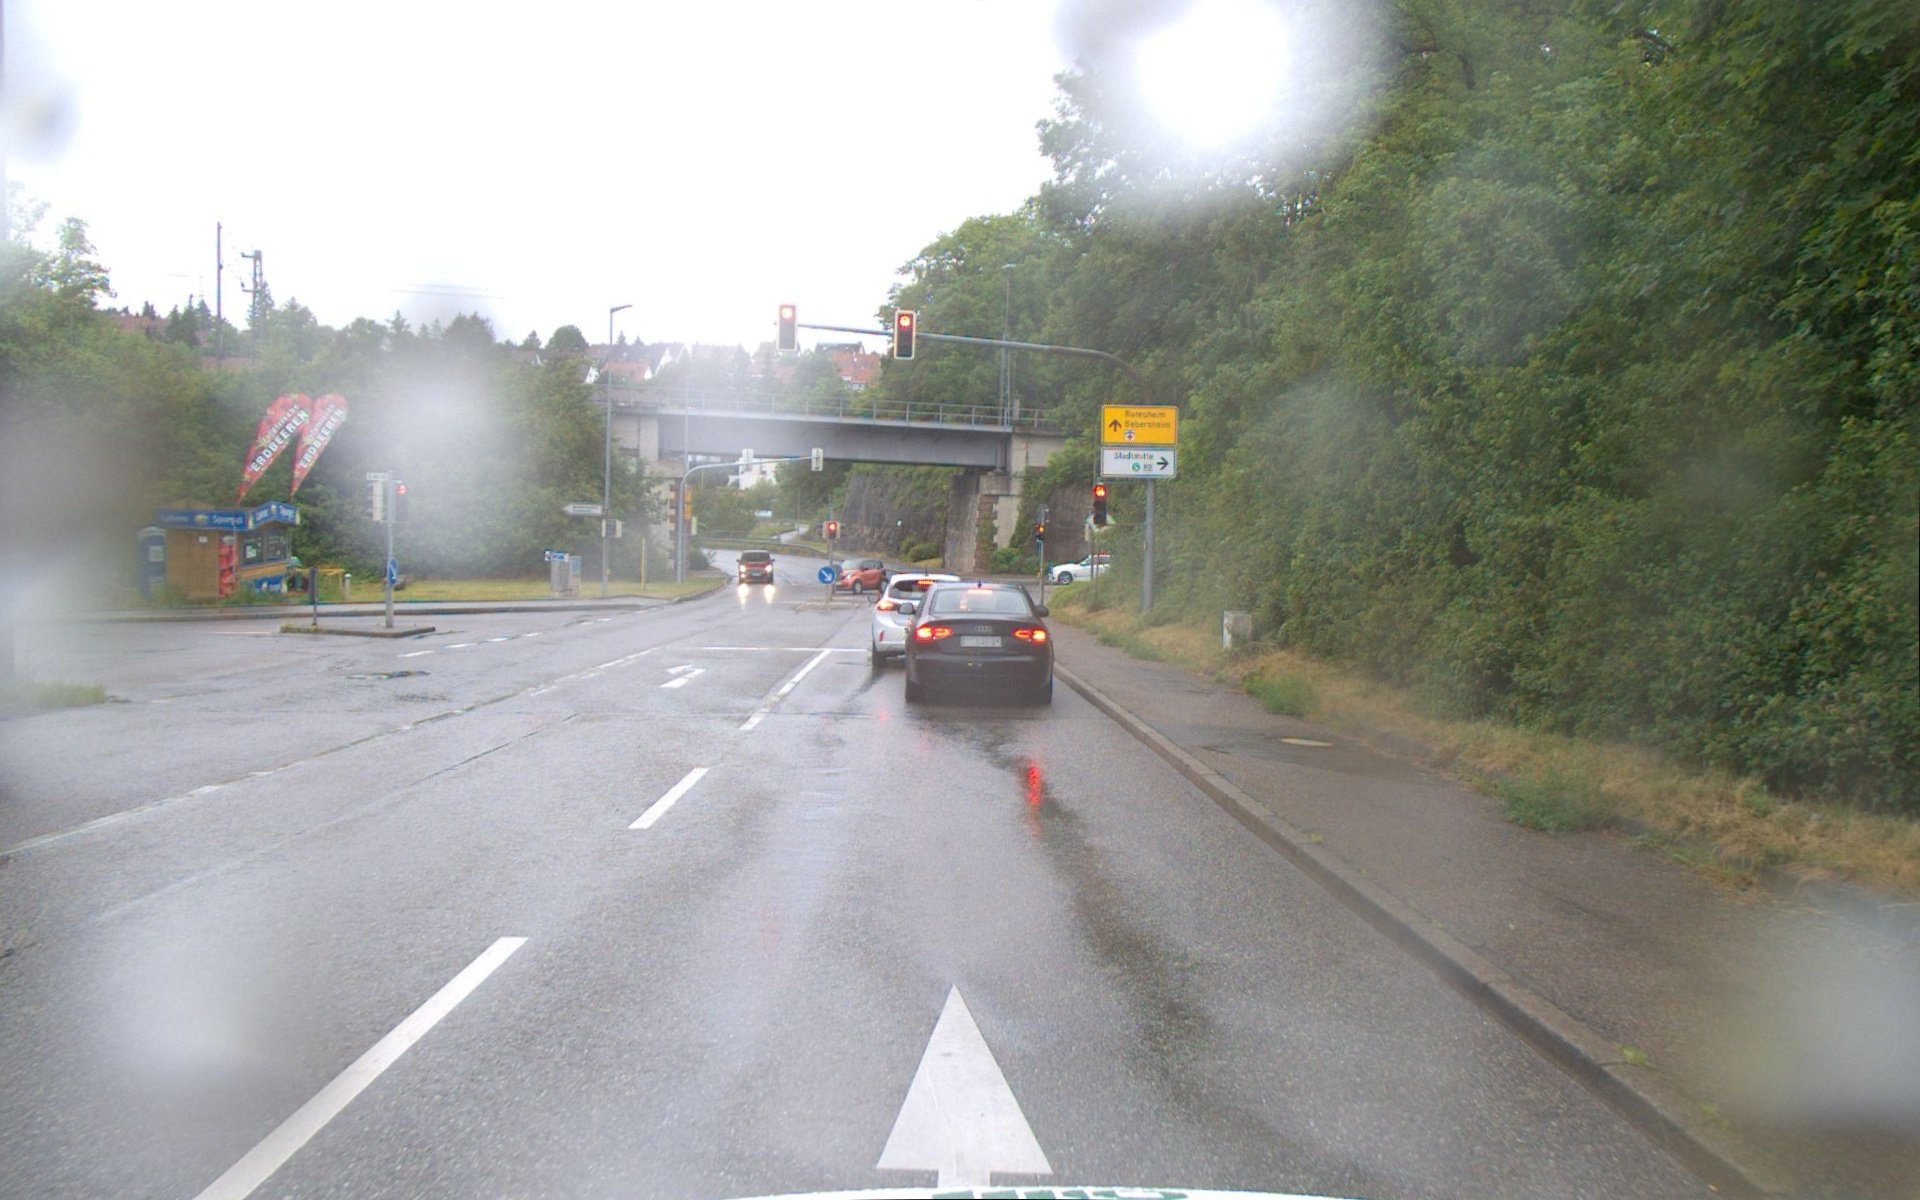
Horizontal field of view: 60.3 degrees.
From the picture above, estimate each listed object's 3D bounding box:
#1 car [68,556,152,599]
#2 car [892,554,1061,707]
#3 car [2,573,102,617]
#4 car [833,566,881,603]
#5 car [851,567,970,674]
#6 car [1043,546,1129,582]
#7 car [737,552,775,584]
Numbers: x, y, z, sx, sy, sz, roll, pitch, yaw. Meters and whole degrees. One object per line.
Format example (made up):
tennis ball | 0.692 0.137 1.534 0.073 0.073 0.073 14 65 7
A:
car | -32.640 -0.879 63.638 1.960 1.612 3.986 -1 1 -14
car | 0.152 0.304 20.471 1.832 1.644 3.999 2 1 -1
car | -29.539 -0.171 53.951 1.623 1.364 4.885 1 0 -14
car | -4.564 -0.676 73.641 1.953 1.613 3.999 1 0 -1
car | -0.795 0.310 27.177 1.786 1.613 3.999 1 0 -1
car | 6.499 -1.841 85.098 4.371 1.773 1.812 1 0 6
car | -11.059 -1.724 89.345 1.956 1.656 3.993 0 1 -8
